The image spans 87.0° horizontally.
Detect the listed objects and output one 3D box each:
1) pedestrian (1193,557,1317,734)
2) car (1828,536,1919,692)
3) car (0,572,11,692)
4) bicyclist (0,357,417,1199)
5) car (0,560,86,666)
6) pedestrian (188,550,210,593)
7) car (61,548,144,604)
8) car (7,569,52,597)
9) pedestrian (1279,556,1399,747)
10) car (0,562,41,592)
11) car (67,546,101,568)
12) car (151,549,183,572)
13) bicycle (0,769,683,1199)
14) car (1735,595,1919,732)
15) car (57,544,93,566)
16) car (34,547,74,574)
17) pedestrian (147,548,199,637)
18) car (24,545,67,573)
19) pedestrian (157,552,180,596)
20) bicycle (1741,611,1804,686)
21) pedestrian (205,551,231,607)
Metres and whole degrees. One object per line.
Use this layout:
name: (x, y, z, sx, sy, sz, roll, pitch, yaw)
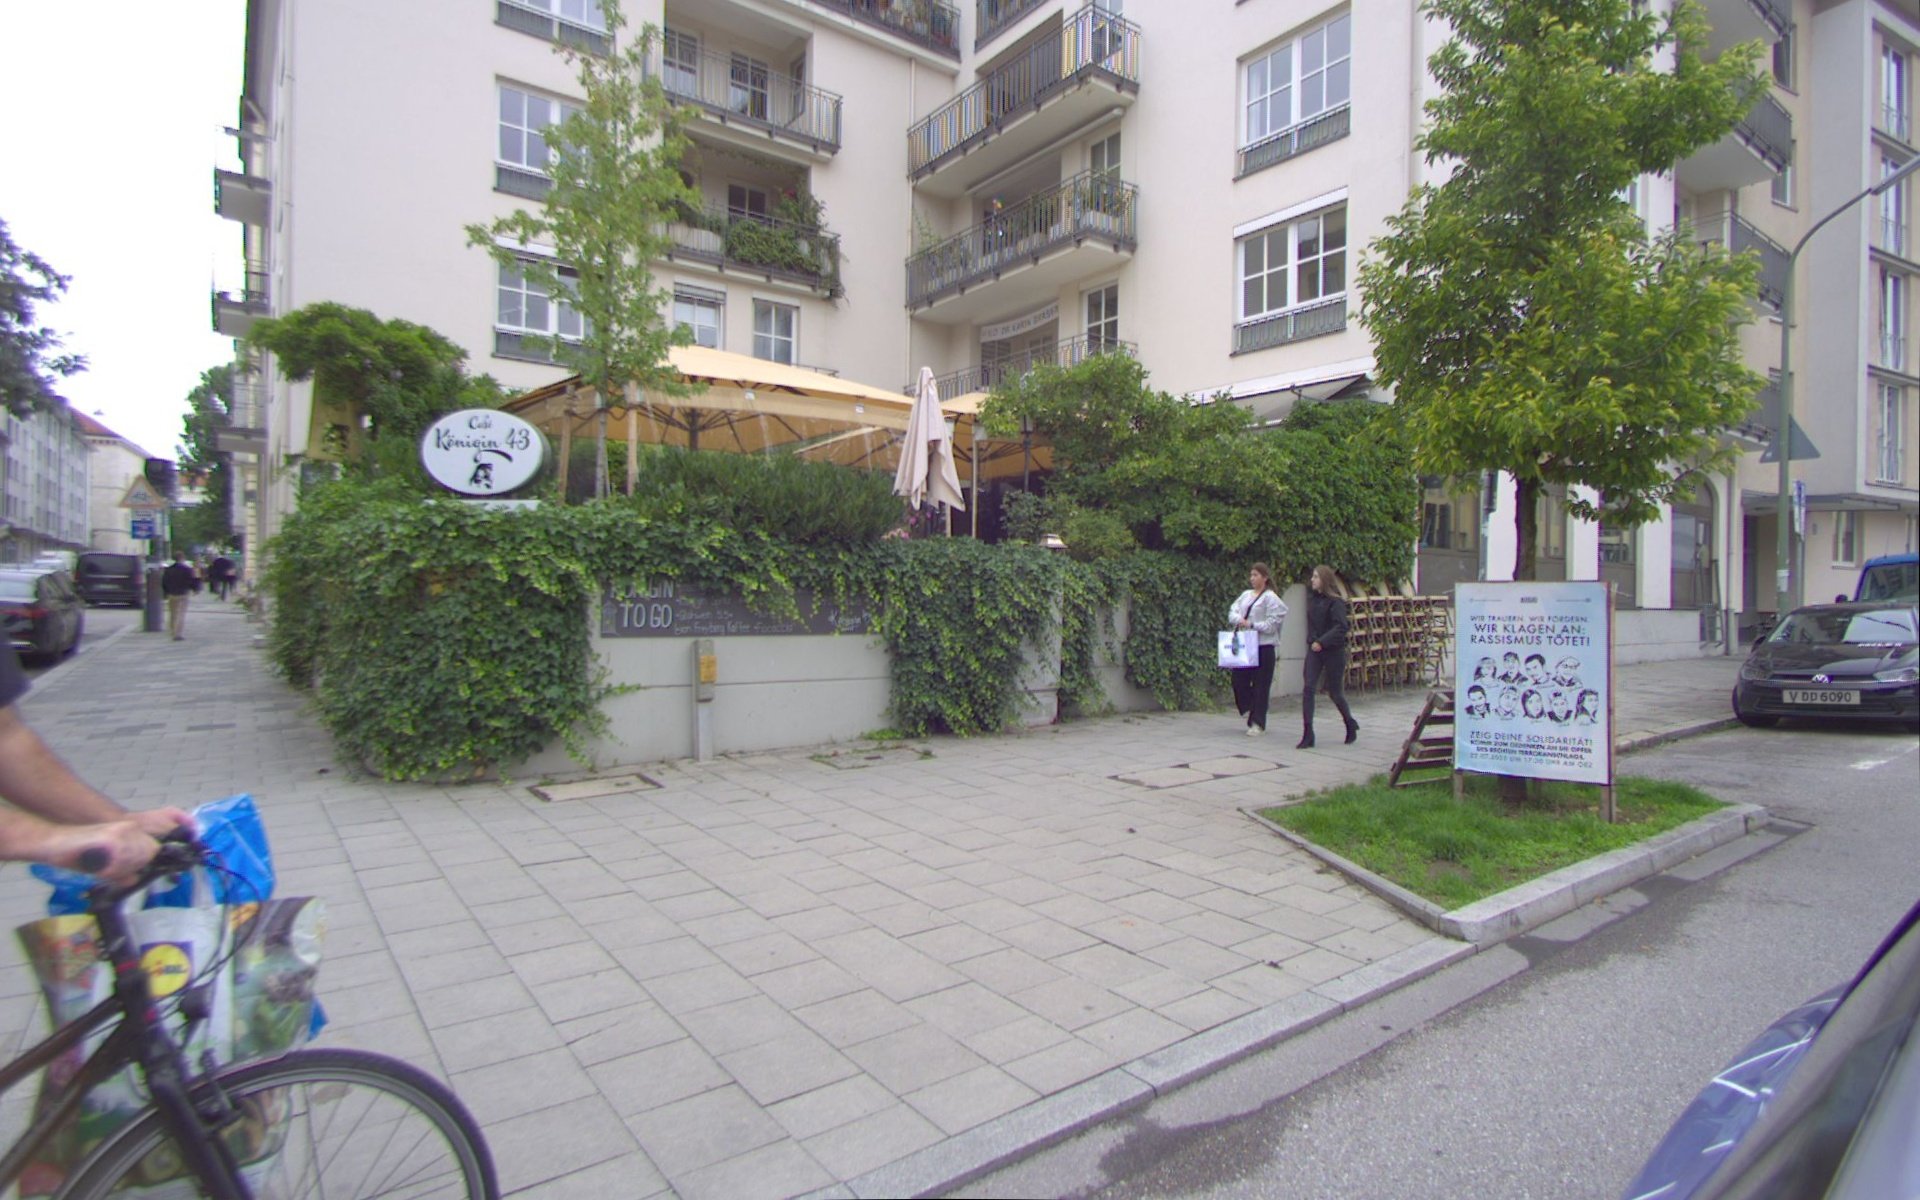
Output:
pedestrian: (2.858, 0.399, 9.823, 0.814, 1.626, 0.809, 0, 2, -37)
car: (15.934, 0.130, 15.906, 4.933, 2.242, 2.115, -2, -3, -34)
car: (-11.261, 0.412, 10.254, 1.933, 1.416, 4.502, 1, 1, -37)
bicyclist: (-1.554, 0.494, 1.645, 1.027, 1.629, 0.880, 1, 0, -19)
car: (-15.396, 0.140, 16.209, 1.691, 1.549, 4.000, 1, 1, -35)
pedestrian: (-36.995, -1.386, 49.185, 0.774, 2.039, 0.831, 1, 0, -41)
car: (-29.366, -0.811, 34.777, 1.785, 1.797, 4.000, 1, 1, -35)
car: (-52.945, -0.984, 57.637, 1.662, 1.426, 3.500, 1, 2, -39)
pedestrian: (3.477, 0.430, 9.281, 0.814, 1.648, 0.680, -1, 2, -38)
car: (-50.398, -1.237, 54.093, 1.662, 1.426, 3.500, 1, 2, -39)
car: (-69.781, -3.415, 80.662, 1.742, 1.616, 3.999, 2, 1, -37)
car: (-55.975, -2.805, 71.462, 1.672, 1.526, 3.999, 1, 2, -37)
bicycle: (-1.595, 0.907, 1.635, 2.144, 1.032, 0.881, 1, 0, -19)
car: (10.975, 0.684, 12.201, 3.928, 1.413, 1.717, 0, -3, -40)
car: (-66.339, -3.366, 75.910, 1.672, 1.526, 4.000, 1, 2, -36)
car: (-60.541, -2.601, 67.661, 1.758, 1.683, 3.996, 1, 1, -39)
pedestrian: (-15.835, -0.148, 20.389, 0.773, 1.735, 0.832, 1, 0, -36)
car: (-57.523, -2.564, 63.725, 1.758, 1.683, 3.996, 1, 1, -39)
pedestrian: (-37.754, -1.245, 48.274, 0.774, 2.039, 0.831, 1, 0, -41)
bicycle: (12.708, 0.724, 15.815, 0.565, 1.083, 1.758, 1, 1, 45)
pedestrian: (-27.531, -0.789, 37.565, 0.742, 2.039, 0.832, 1, 0, -36)
